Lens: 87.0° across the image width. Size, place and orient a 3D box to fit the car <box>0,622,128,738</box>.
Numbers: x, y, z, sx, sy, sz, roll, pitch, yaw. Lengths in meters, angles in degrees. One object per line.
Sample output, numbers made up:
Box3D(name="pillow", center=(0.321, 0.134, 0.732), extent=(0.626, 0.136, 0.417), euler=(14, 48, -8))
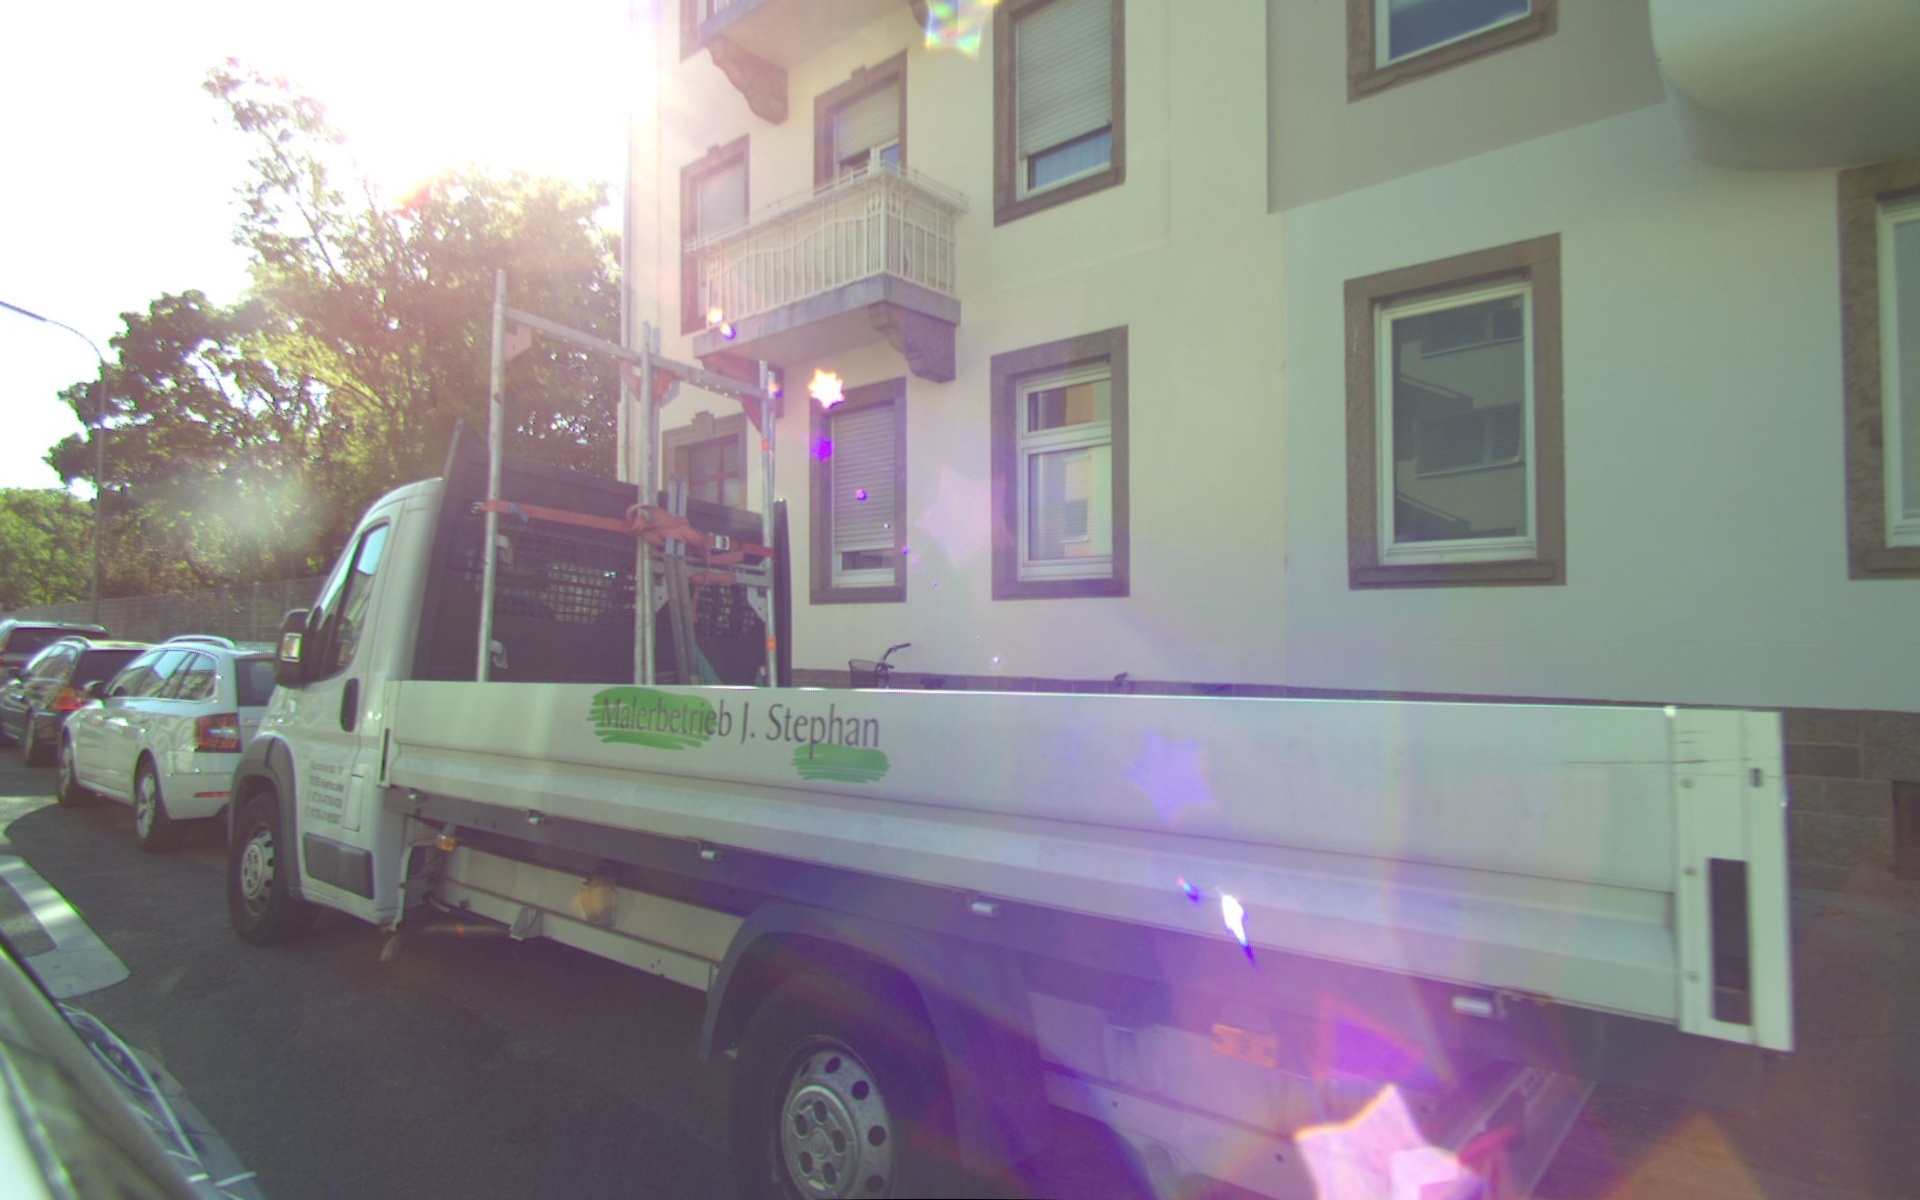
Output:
Box3D(name="car", center=(-15.439, 1.277, 16.567), extent=(4.927, 1.676, 1.859), euler=(-3, -6, 40))

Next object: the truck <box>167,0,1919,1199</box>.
Box3D(name="truck", center=(-0.926, 0.103, 4.254), extent=(7.270, 3.009, 2.236), euler=(-2, -4, 40))

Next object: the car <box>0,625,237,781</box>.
Box3D(name="car", center=(-10.557, 1.136, 12.414), extent=(4.457, 1.575, 1.773), euler=(-2, -4, 42))

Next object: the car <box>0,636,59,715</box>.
Box3D(name="car", center=(-19.895, 1.497, 20.444), extent=(4.497, 1.482, 1.776), euler=(-3, -7, 40))

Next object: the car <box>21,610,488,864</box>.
Box3D(name="car", center=(-5.977, 1.069, 8.358), extent=(4.635, 1.553, 1.775), euler=(-4, -11, 39))

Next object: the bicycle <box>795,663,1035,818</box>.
Box3D(name="bicycle", center=(-0.465, 1.180, 8.978), extent=(2.339, 1.213, 0.623), euler=(-4, -5, 41))

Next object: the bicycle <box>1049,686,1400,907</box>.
Box3D(name="bicycle", center=(1.736, 1.255, 7.040), extent=(2.339, 1.289, 0.563), euler=(-4, -5, 41))
